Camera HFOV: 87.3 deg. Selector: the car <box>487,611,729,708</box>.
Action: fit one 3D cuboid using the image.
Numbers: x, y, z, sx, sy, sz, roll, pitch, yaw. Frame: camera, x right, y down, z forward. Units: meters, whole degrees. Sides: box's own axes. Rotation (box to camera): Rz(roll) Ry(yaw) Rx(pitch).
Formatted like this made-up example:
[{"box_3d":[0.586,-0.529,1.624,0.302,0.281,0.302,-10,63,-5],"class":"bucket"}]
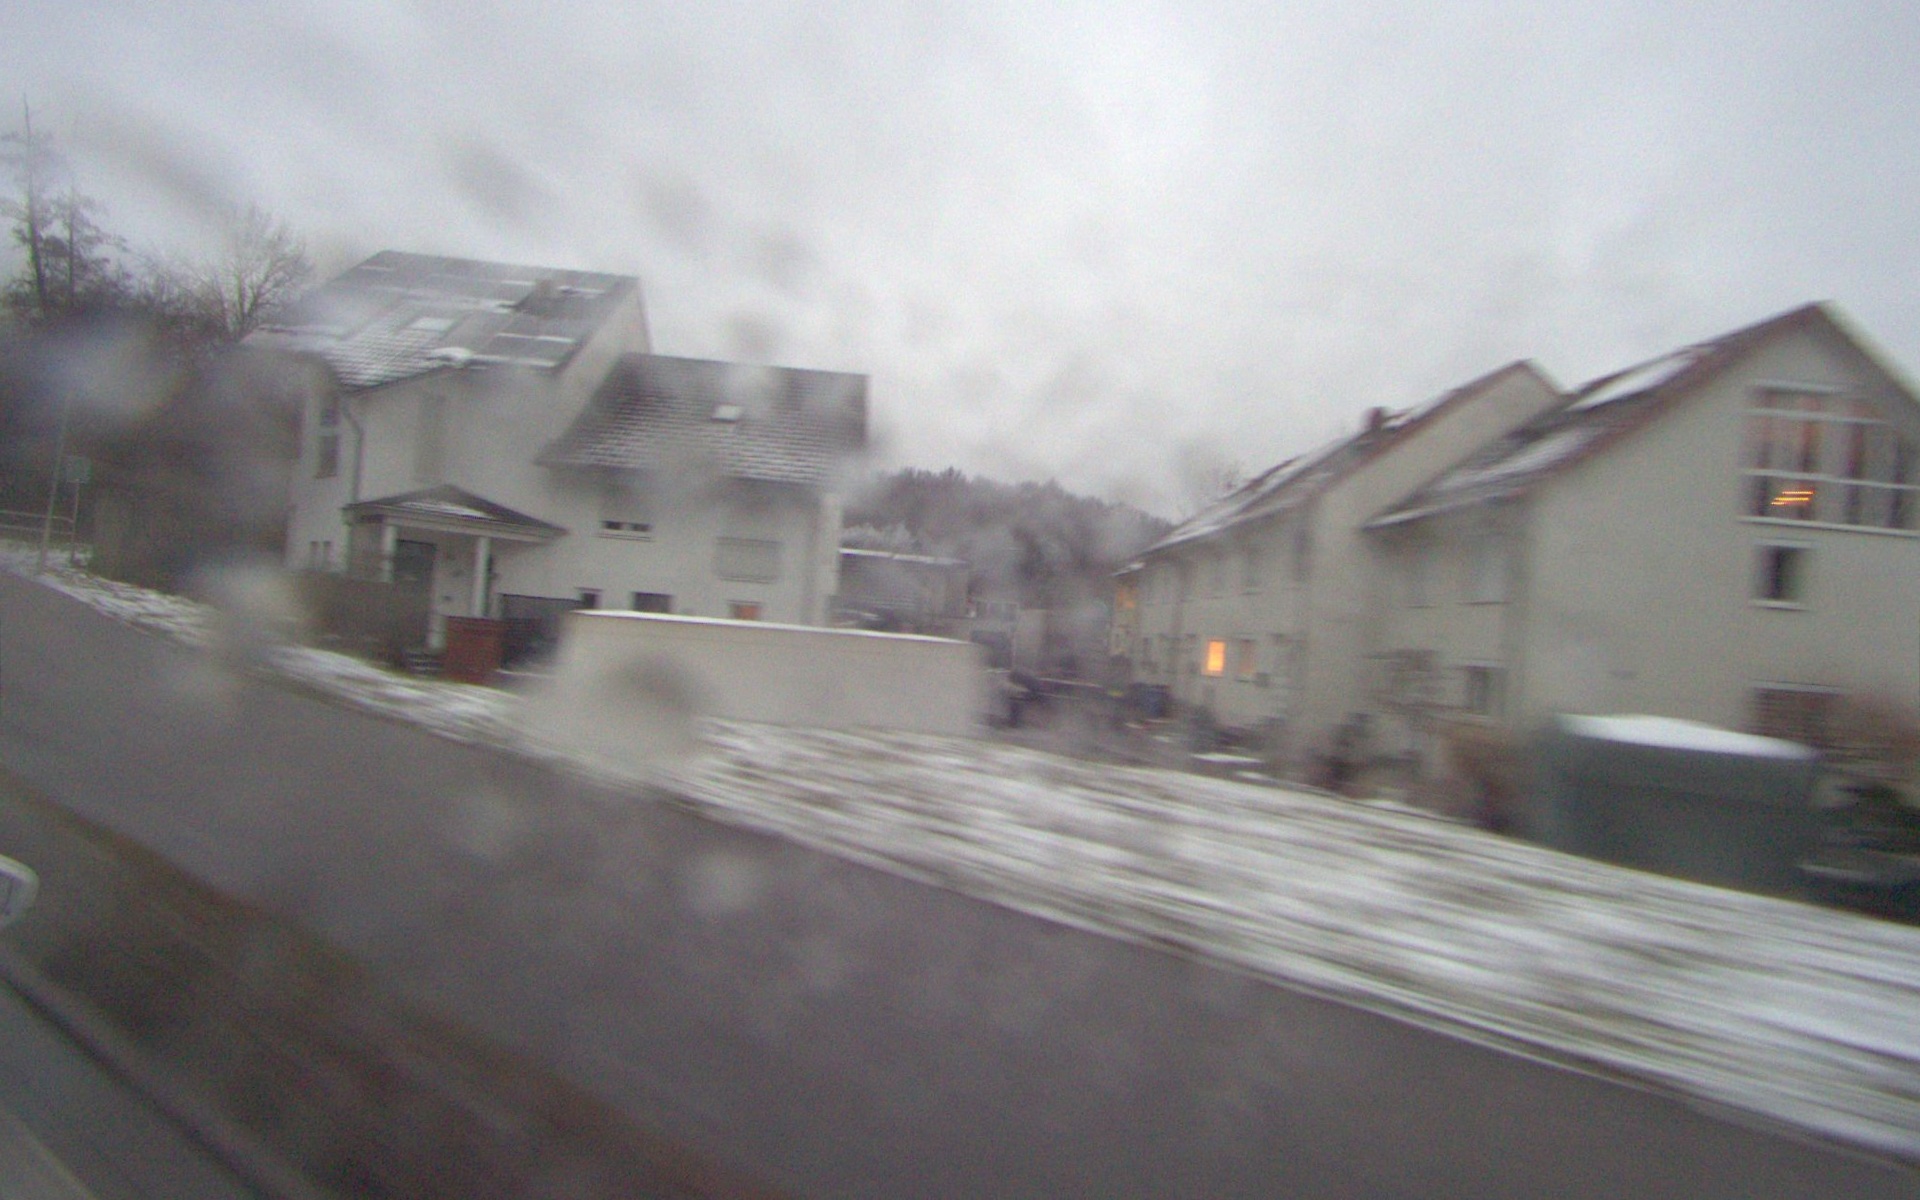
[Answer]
[{"box_3d":[-7.845,1.343,22.780,4.838,1.506,1.945,8,-1,-19],"class":"car"}]
